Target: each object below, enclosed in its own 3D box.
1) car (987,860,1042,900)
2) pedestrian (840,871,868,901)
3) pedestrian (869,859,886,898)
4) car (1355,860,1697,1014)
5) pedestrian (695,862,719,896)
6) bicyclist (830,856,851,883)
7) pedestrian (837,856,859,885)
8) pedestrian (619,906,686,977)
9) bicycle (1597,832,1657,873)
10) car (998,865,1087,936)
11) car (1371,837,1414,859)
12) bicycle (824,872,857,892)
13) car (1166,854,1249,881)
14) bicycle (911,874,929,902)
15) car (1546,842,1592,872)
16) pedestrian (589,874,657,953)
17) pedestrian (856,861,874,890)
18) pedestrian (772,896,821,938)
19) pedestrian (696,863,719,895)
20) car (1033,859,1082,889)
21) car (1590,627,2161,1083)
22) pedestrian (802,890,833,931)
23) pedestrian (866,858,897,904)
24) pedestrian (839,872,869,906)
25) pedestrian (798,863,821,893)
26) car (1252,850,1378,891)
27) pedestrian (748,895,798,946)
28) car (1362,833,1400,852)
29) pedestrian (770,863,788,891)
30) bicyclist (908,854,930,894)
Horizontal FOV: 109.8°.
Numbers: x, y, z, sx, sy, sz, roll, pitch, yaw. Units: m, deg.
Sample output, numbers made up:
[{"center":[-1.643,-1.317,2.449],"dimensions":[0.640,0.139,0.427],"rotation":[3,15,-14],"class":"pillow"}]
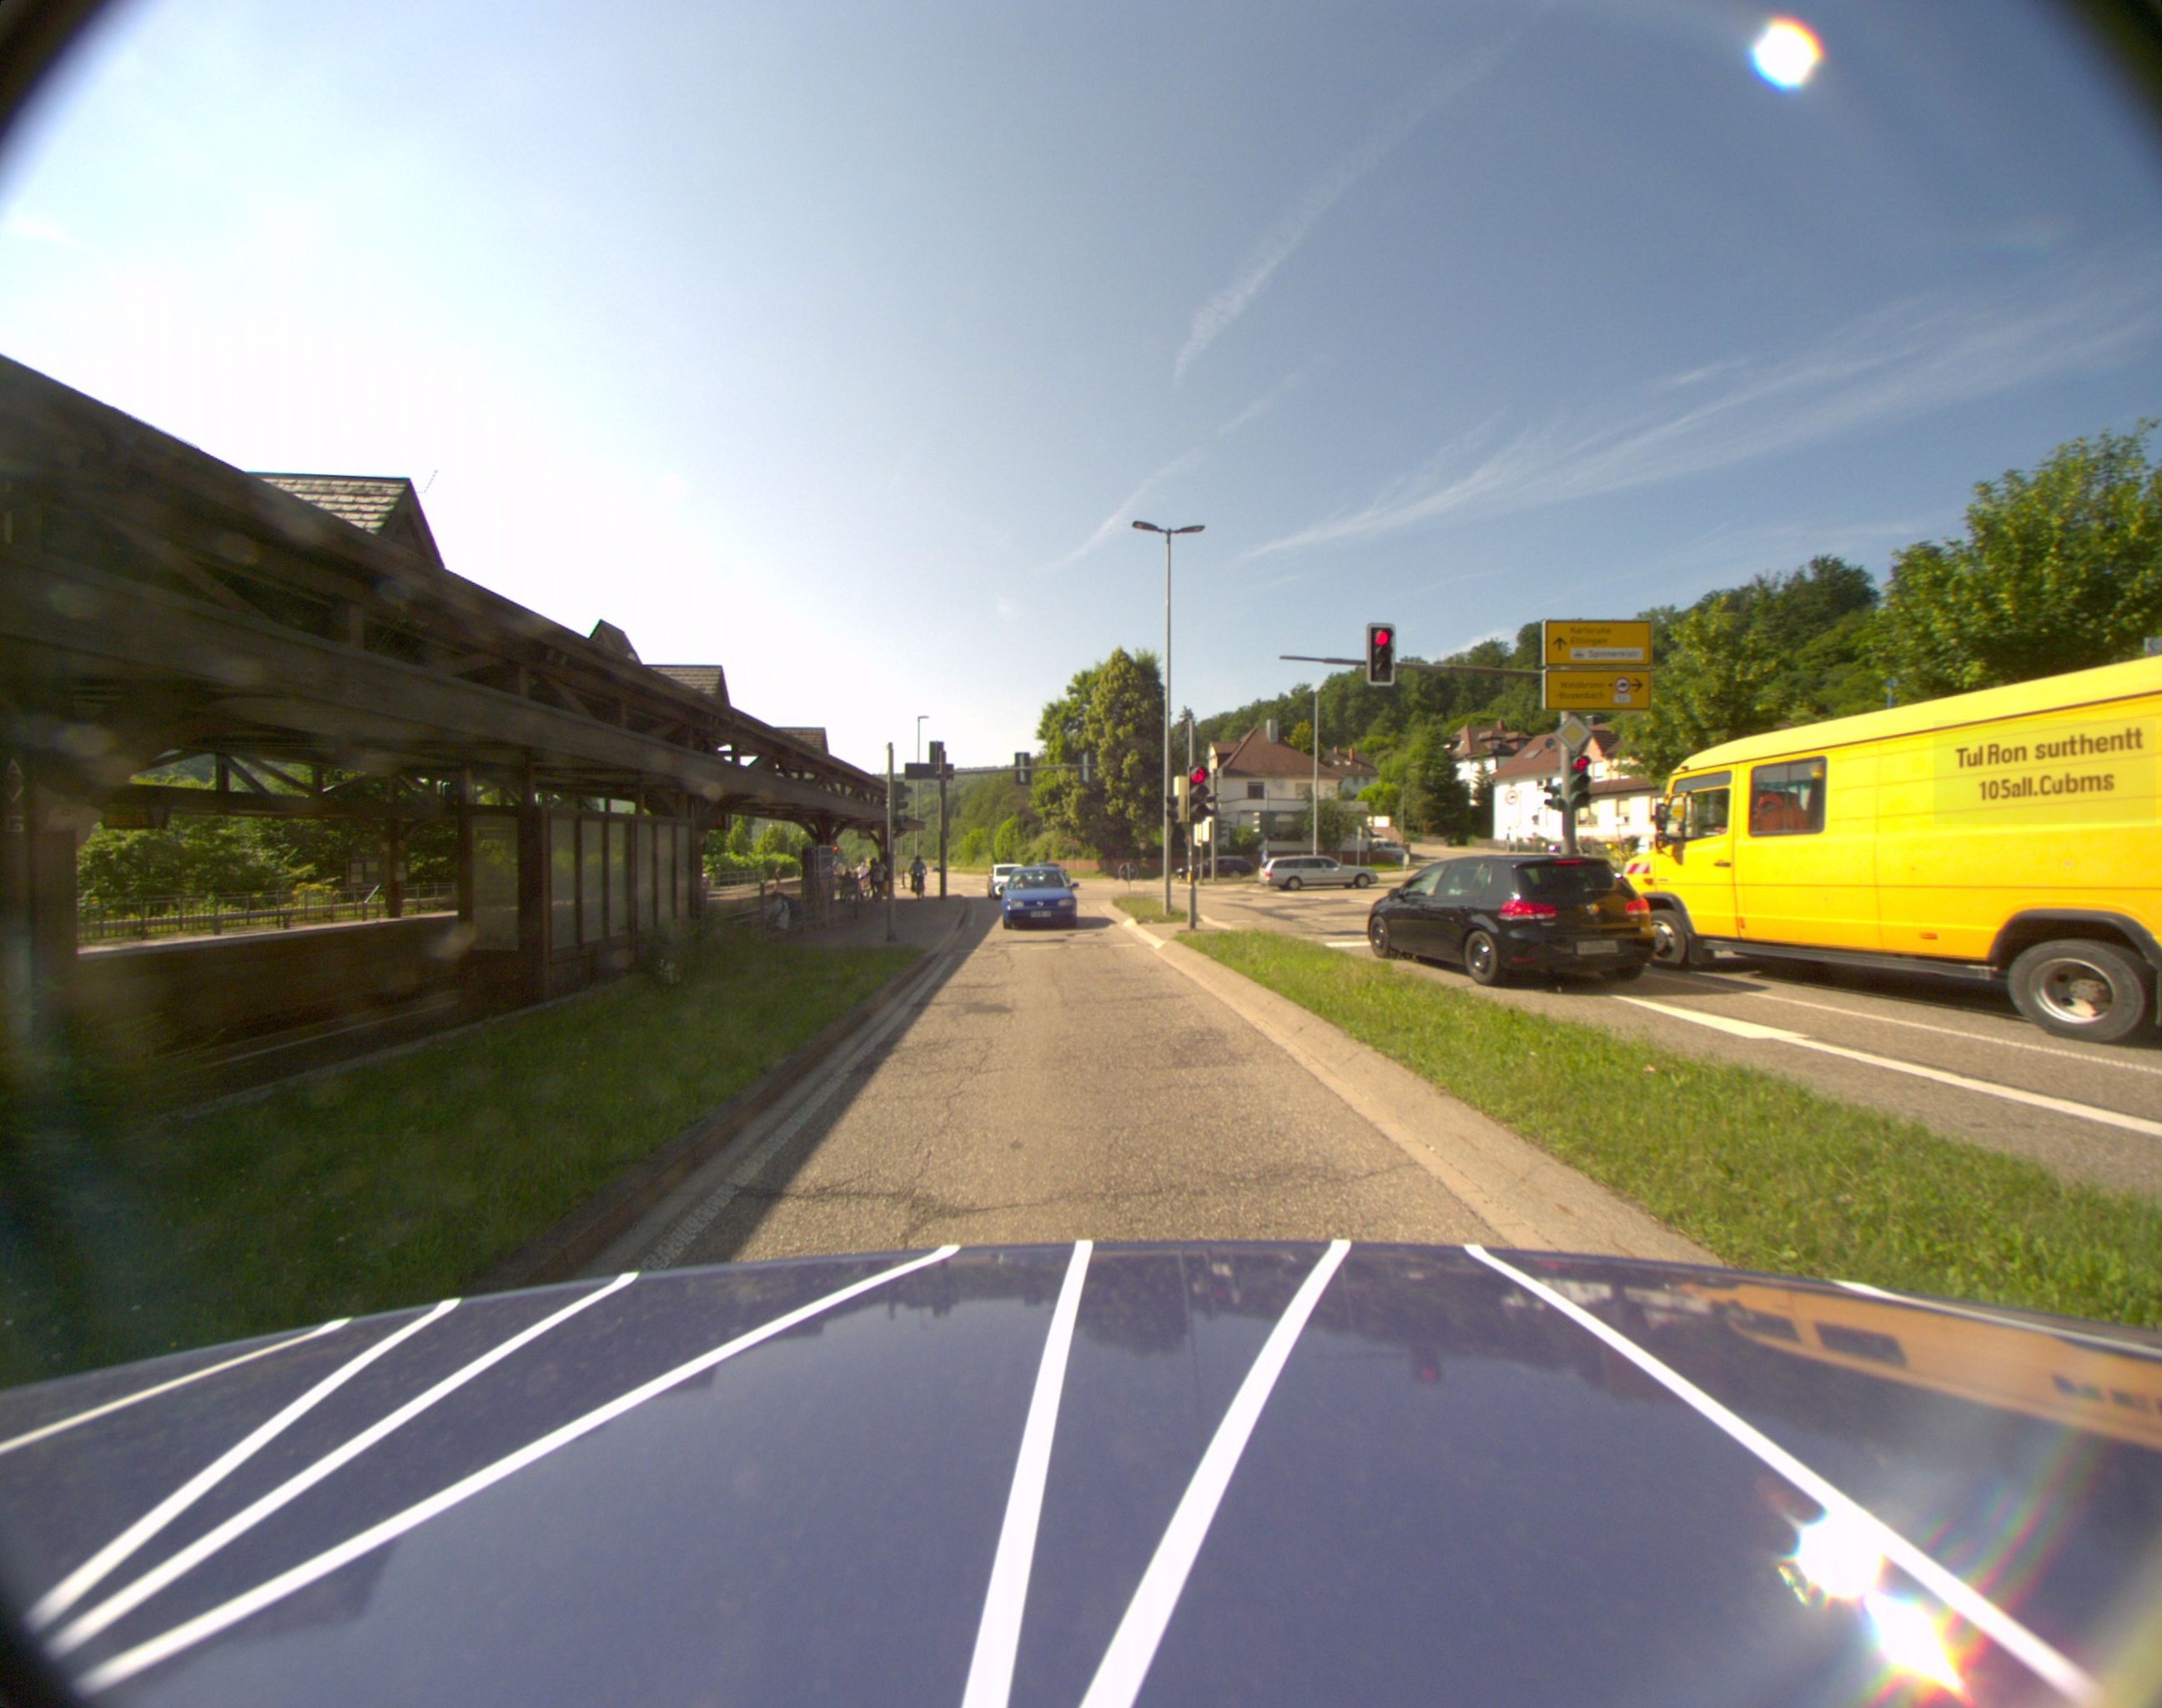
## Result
[{"center":[-3.007,1.100,33.594],"dimensions":[2.000,1.575,3.997],"rotation":[-3,0,-10],"class":"car"},{"center":[-9.081,1.274,30.444],"dimensions":[1.010,1.153,0.947],"rotation":[-2,1,-13],"class":"pedestrian"},{"center":[-8.885,1.064,33.136],"dimensions":[0.659,1.682,0.738],"rotation":[-1,0,-13],"class":"pedestrian"},{"center":[5.104,0.826,9.469],"dimensions":[1.750,1.454,4.042],"rotation":[-1,0,-3],"class":"car"},{"center":[-20.907,1.388,42.463],"dimensions":[0.904,1.838,0.822],"rotation":[-3,-1,-11],"class":"pedestrian"},{"center":[-15.622,0.983,49.295],"dimensions":[0.902,1.674,0.824],"rotation":[-3,-1,26],"class":"bicyclist"},{"center":[-14.211,0.991,46.314],"dimensions":[0.902,1.674,0.823],"rotation":[-3,-1,21],"class":"pedestrian"},{"center":[-7.326,1.485,13.021],"dimensions":[0.744,1.110,0.667],"rotation":[-3,-1,-7],"class":"pedestrian"},{"center":[18.298,-0.018,25.511],"dimensions":[0.620,1.247,1.758],"rotation":[-6,-2,2],"class":"bicycle"},{"center":[-1.065,1.056,18.836],"dimensions":[1.866,1.474,4.299],"rotation":[-1,0,-7],"class":"car"},{"center":[25.827,-0.485,63.136],"dimensions":[1.939,1.627,4.001],"rotation":[-3,-1,2],"class":"car"},{"center":[-15.593,1.793,49.282],"dimensions":[2.015,1.201,0.711],"rotation":[-3,-1,25],"class":"bicycle"},{"center":[7.904,0.846,47.351],"dimensions":[4.740,1.475,1.984],"rotation":[-3,-1,21],"class":"car"},{"center":[-6.562,1.368,31.028],"dimensions":[0.604,1.049,1.812],"rotation":[-3,0,-11],"class":"bicycle"},{"center":[26.757,0.134,41.624],"dimensions":[1.657,1.525,3.963],"rotation":[-2,-1,39],"class":"car"},{"center":[-9.384,1.197,15.600],"dimensions":[0.863,1.538,0.922],"rotation":[-1,-1,-5],"class":"pedestrian"},{"center":[-12.928,1.278,45.508],"dimensions":[0.823,1.674,0.902],"rotation":[-3,-1,-24],"class":"pedestrian"},{"center":[-6.479,1.426,17.355],"dimensions":[0.847,0.869,0.807],"rotation":[-3,-1,-7],"class":"pedestrian"},{"center":[-22.001,1.489,44.771],"dimensions":[0.904,1.838,0.822],"rotation":[-3,-1,-11],"class":"pedestrian"},{"center":[-1.345,1.058,42.149],"dimensions":[1.981,1.495,3.982],"rotation":[-1,0,-12],"class":"car"},{"center":[8.227,-0.036,6.960],"dimensions":[2.474,2.993,6.464],"rotation":[-3,0,-3],"class":"car"},{"center":[-6.548,1.401,18.900],"dimensions":[0.619,0.960,0.406],"rotation":[-3,-1,-7],"class":"pedestrian"},{"center":[-7.816,1.054,29.860],"dimensions":[0.916,1.726,1.251],"rotation":[-3,-1,-6],"class":"pedestrian"},{"center":[-8.729,1.351,29.257],"dimensions":[0.994,1.228,0.596],"rotation":[-3,-1,-14],"class":"pedestrian"},{"center":[-16.754,1.473,46.892],"dimensions":[0.990,1.831,1.073],"rotation":[-2,-1,0],"class":"pedestrian"},{"center":[9.888,0.698,32.375],"dimensions":[4.746,1.495,1.981],"rotation":[-3,-1,3],"class":"car"},{"center":[-6.424,1.368,15.895],"dimensions":[0.744,0.976,0.769],"rotation":[-3,-1,-7],"class":"pedestrian"},{"center":[29.715,-1.111,75.390],"dimensions":[1.999,1.597,4.000],"rotation":[-3,-1,-2],"class":"car"},{"center":[-18.447,1.407,46.409],"dimensions":[0.905,1.674,1.123],"rotation":[-3,-1,-23],"class":"pedestrian"},{"center":[-6.600,0.805,31.023],"dimensions":[0.787,1.559,0.946],"rotation":[-3,1,-11],"class":"bicyclist"}]
